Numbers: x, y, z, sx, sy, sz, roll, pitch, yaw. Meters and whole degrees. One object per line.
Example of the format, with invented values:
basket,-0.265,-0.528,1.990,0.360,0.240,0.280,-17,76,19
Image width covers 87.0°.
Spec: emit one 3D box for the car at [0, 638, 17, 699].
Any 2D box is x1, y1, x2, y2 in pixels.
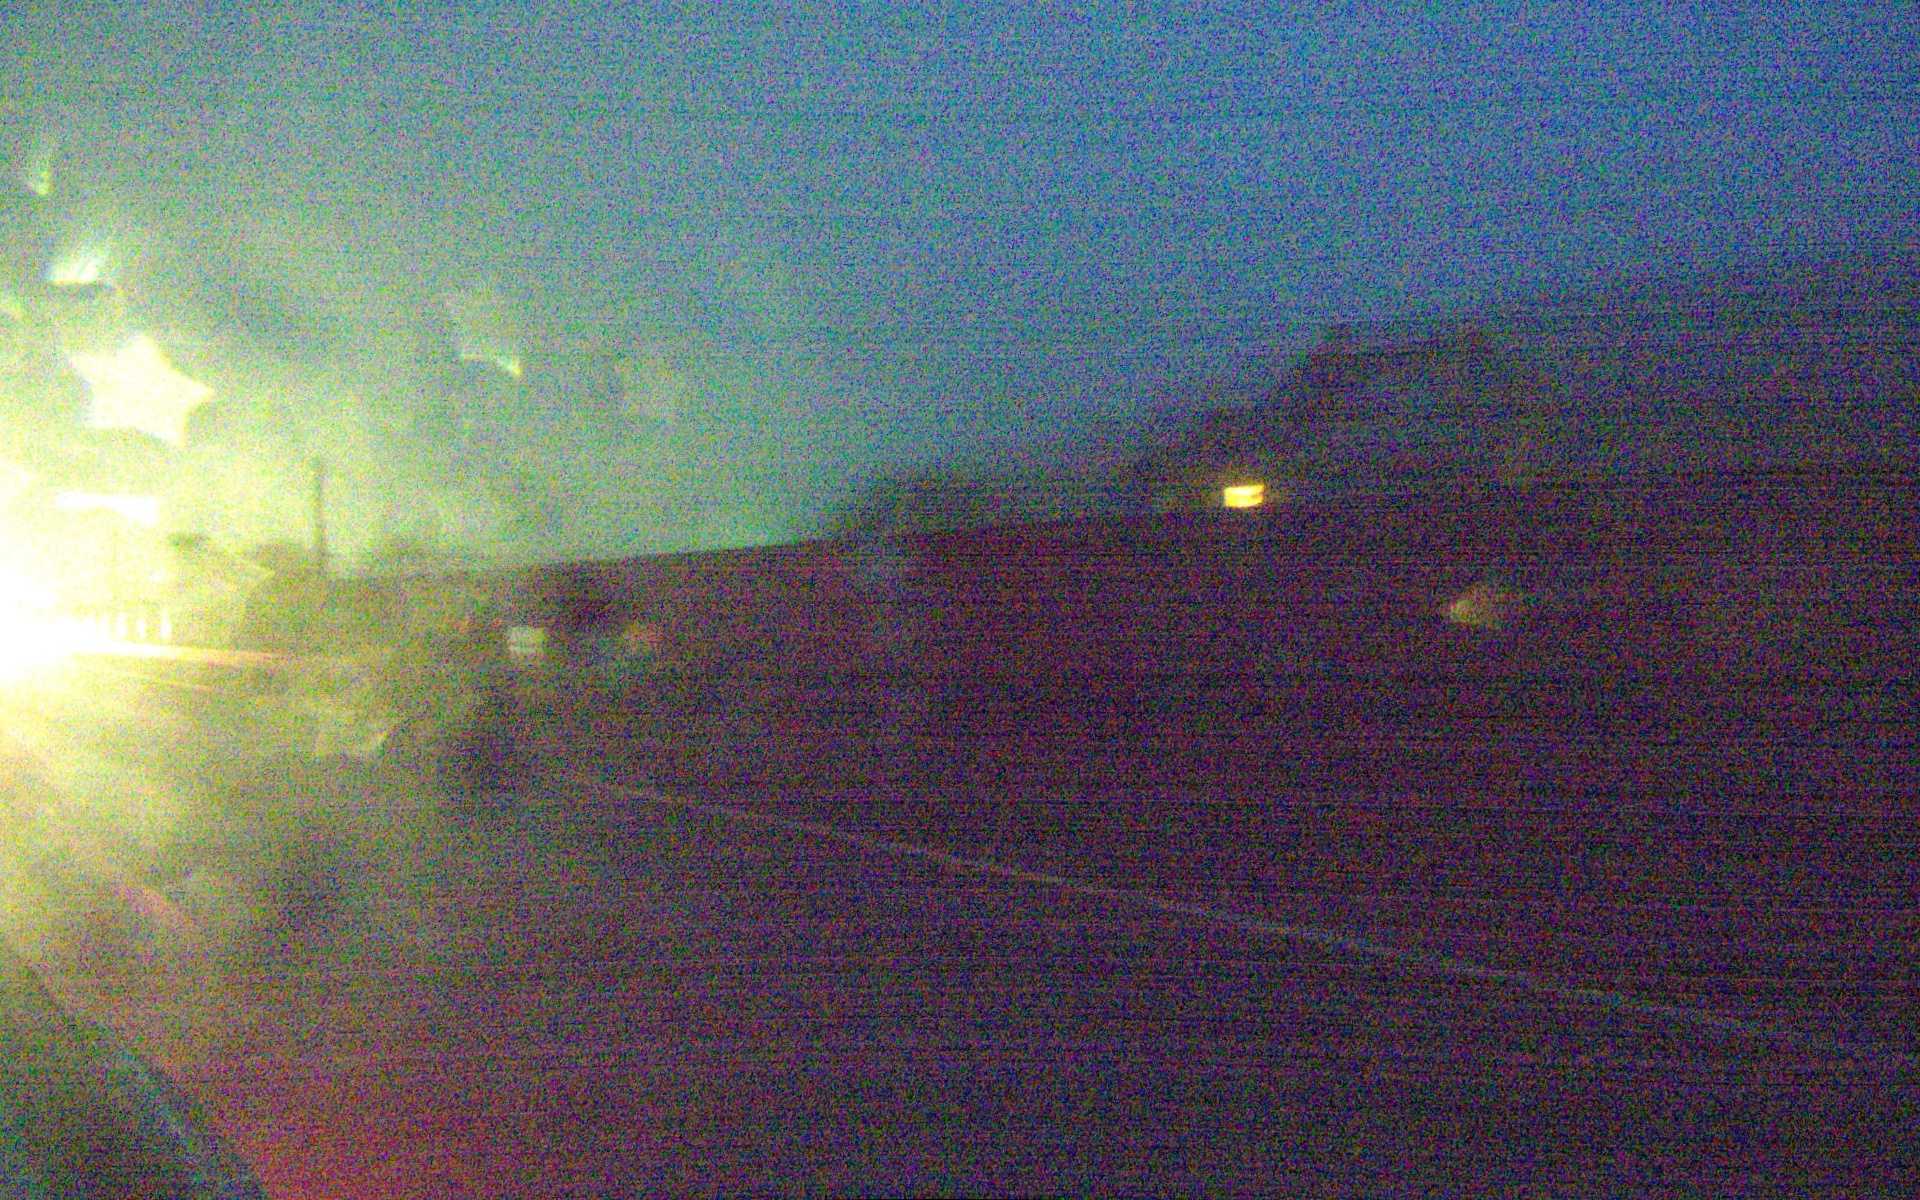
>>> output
car,-33.785,2.354,34.696,1.969,2.029,4.006,0,-2,-41
